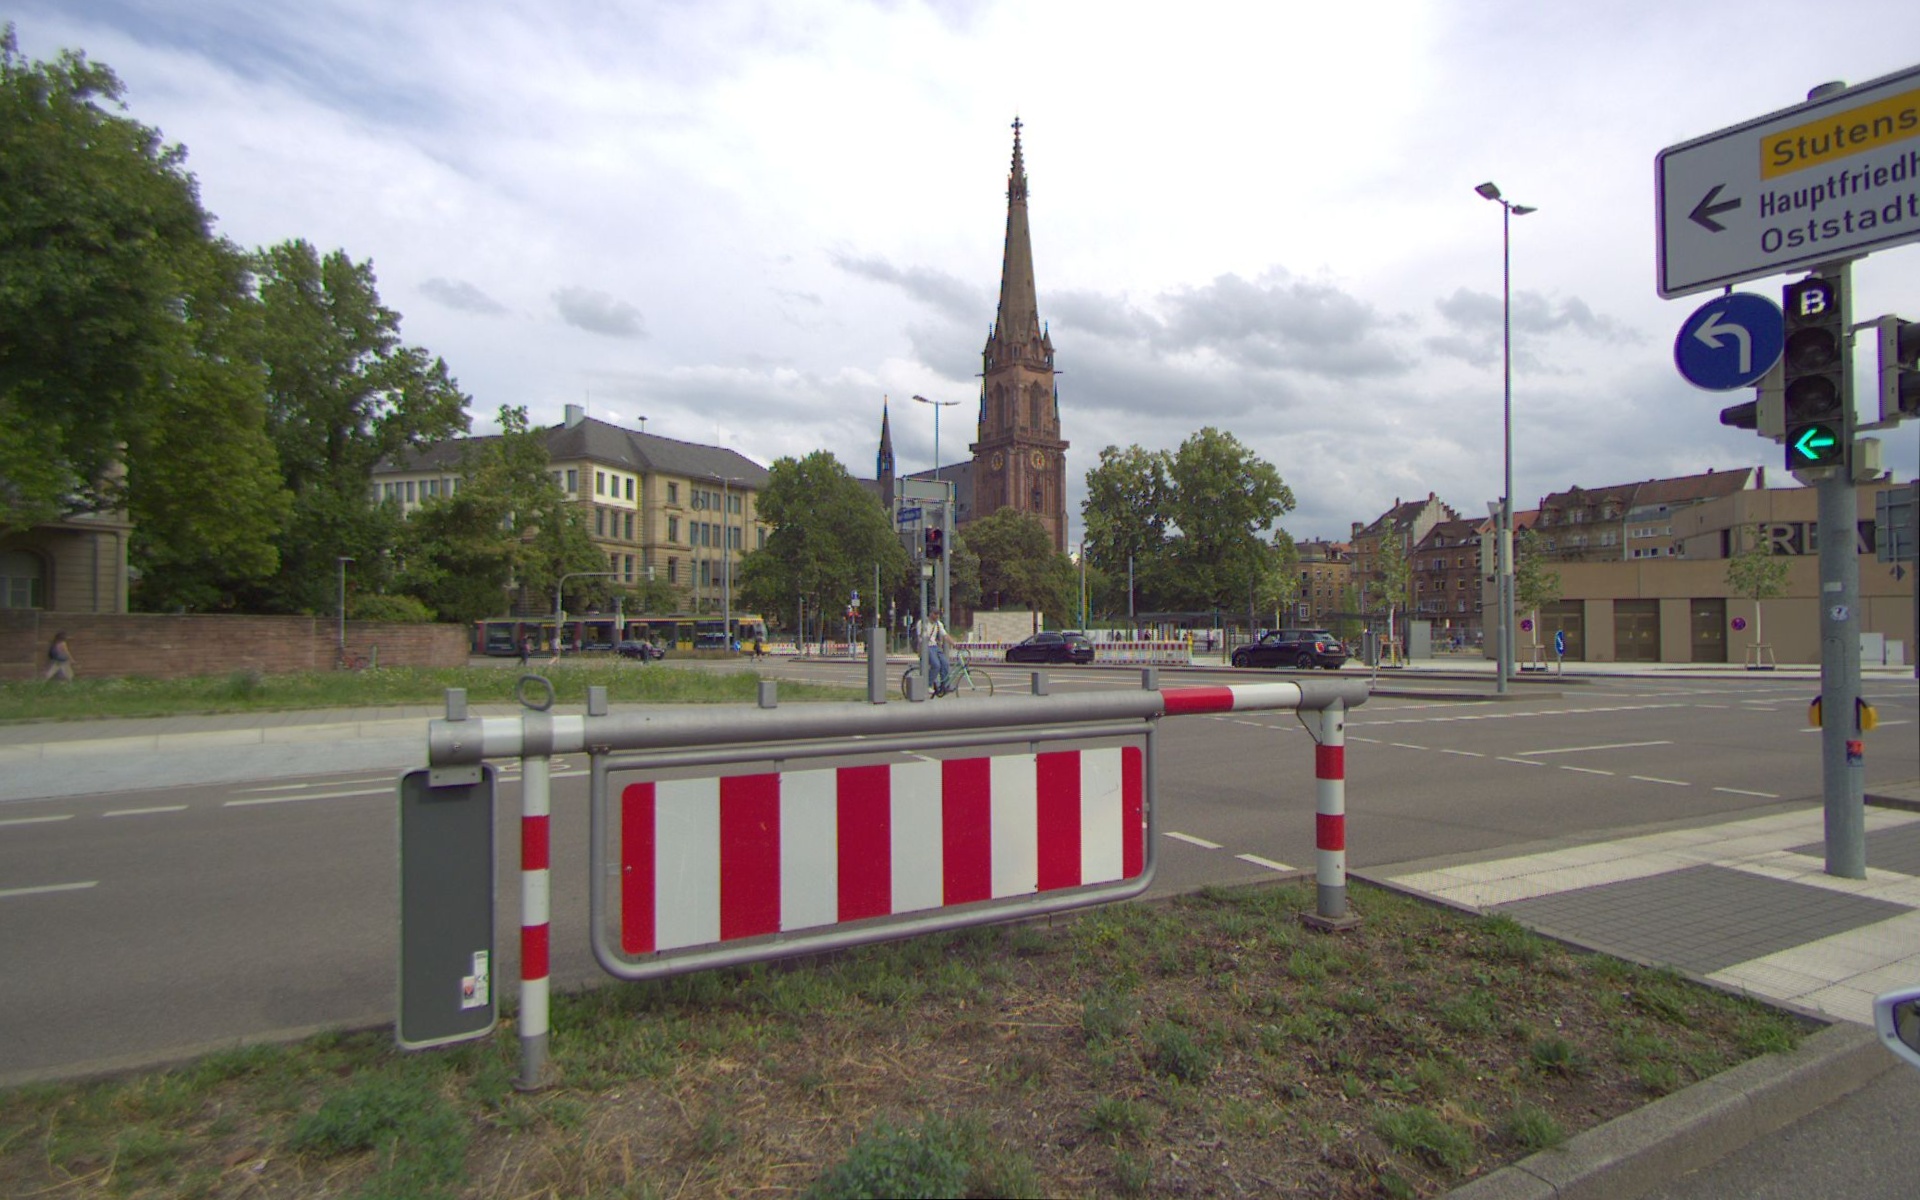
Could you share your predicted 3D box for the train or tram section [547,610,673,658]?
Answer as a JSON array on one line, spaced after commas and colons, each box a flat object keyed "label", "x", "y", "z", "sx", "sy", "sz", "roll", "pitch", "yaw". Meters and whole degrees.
[{"label": "train or tram section", "x": -28.113, "y": 2.648, "z": 80.754, "sx": 9.734, "sy": 3.496, "sz": 3.063, "roll": 1, "pitch": 0, "yaw": 19}]

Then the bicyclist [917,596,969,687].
[{"label": "bicyclist", "x": -0.304, "y": 0.744, "z": 18.092, "sx": 0.782, "sy": 1.575, "sz": 0.580, "roll": 1, "pitch": -2, "yaw": 11}]

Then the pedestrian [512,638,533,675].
[{"label": "pedestrian", "x": -20.974, "y": 2.713, "z": 48.152, "sx": 0.791, "sy": 1.734, "sz": 0.833, "roll": 1, "pitch": 0, "yaw": -31}]

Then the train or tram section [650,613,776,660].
[{"label": "train or tram section", "x": -19.099, "y": 2.775, "z": 77.620, "sx": 9.314, "sy": 3.290, "sz": 3.063, "roll": 1, "pitch": 0, "yaw": 19}]

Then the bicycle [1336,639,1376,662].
[{"label": "bicycle", "x": 21.535, "y": 2.724, "z": 54.585, "sx": 1.926, "sy": 1.171, "sz": 0.584, "roll": 1, "pitch": 0, "yaw": 11}]

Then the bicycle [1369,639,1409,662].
[{"label": "bicycle", "x": 23.607, "y": 2.774, "z": 55.291, "sx": 1.926, "sy": 1.171, "sz": 0.584, "roll": 1, "pitch": 0, "yaw": 11}]

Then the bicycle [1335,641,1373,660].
[{"label": "bicycle", "x": 22.343, "y": 2.856, "z": 56.964, "sx": 1.927, "sy": 0.983, "sz": 0.584, "roll": 1, "pitch": 0, "yaw": 17}]

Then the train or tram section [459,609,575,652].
[{"label": "train or tram section", "x": -37.034, "y": 2.491, "z": 83.958, "sx": 9.244, "sy": 3.255, "sz": 3.063, "roll": 1, "pitch": 0, "yaw": 19}]

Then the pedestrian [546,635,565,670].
[{"label": "pedestrian", "x": -20.488, "y": 2.668, "z": 50.873, "sx": 0.791, "sy": 1.734, "sz": 0.833, "roll": 1, "pitch": 0, "yaw": -31}]

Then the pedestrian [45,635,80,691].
[{"label": "pedestrian", "x": -27.629, "y": 1.922, "z": 30.919, "sx": 0.521, "sy": 1.676, "sz": 0.629, "roll": 1, "pitch": 0, "yaw": 23}]

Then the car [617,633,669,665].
[{"label": "car", "x": -22.194, "y": 3.376, "z": 70.354, "sx": 1.985, "sy": 2.040, "sz": 3.950, "roll": 1, "pitch": 0, "yaw": -42}]

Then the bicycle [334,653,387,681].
[{"label": "bicycle", "x": -24.576, "y": 2.718, "z": 41.207, "sx": 0.763, "sy": 1.018, "sz": 1.927, "roll": 1, "pitch": 0, "yaw": 12}]

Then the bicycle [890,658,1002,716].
[{"label": "bicycle", "x": -0.247, "y": 1.550, "z": 18.049, "sx": 1.931, "sy": 0.948, "sz": 0.506, "roll": 1, "pitch": -2, "yaw": 11}]

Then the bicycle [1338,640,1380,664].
[{"label": "bicycle", "x": 20.634, "y": 2.681, "z": 51.947, "sx": 1.926, "sy": 1.171, "sz": 0.584, "roll": 1, "pitch": 0, "yaw": 11}]

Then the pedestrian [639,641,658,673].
[{"label": "pedestrian", "x": -17.159, "y": 3.122, "z": 55.344, "sx": 0.791, "sy": 1.734, "sz": 0.833, "roll": 1, "pitch": 0, "yaw": -31}]

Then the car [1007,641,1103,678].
[{"label": "car", "x": 4.108, "y": 2.566, "z": 44.253, "sx": 1.980, "sy": 1.379, "sz": 4.233, "roll": 1, "pitch": -1, "yaw": -34}]

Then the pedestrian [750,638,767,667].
[{"label": "pedestrian", "x": -12.114, "y": 3.149, "z": 60.419, "sx": 0.791, "sy": 1.734, "sz": 0.833, "roll": 1, "pitch": 0, "yaw": -31}]

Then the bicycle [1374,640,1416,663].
[{"label": "bicycle", "x": 23.322, "y": 2.755, "z": 53.861, "sx": 1.926, "sy": 1.171, "sz": 0.584, "roll": 1, "pitch": 0, "yaw": 11}]

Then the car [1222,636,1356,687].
[{"label": "car", "x": 11.174, "y": 2.051, "z": 34.313, "sx": 1.981, "sy": 1.506, "sz": 3.958, "roll": 1, "pitch": -1, "yaw": -36}]
